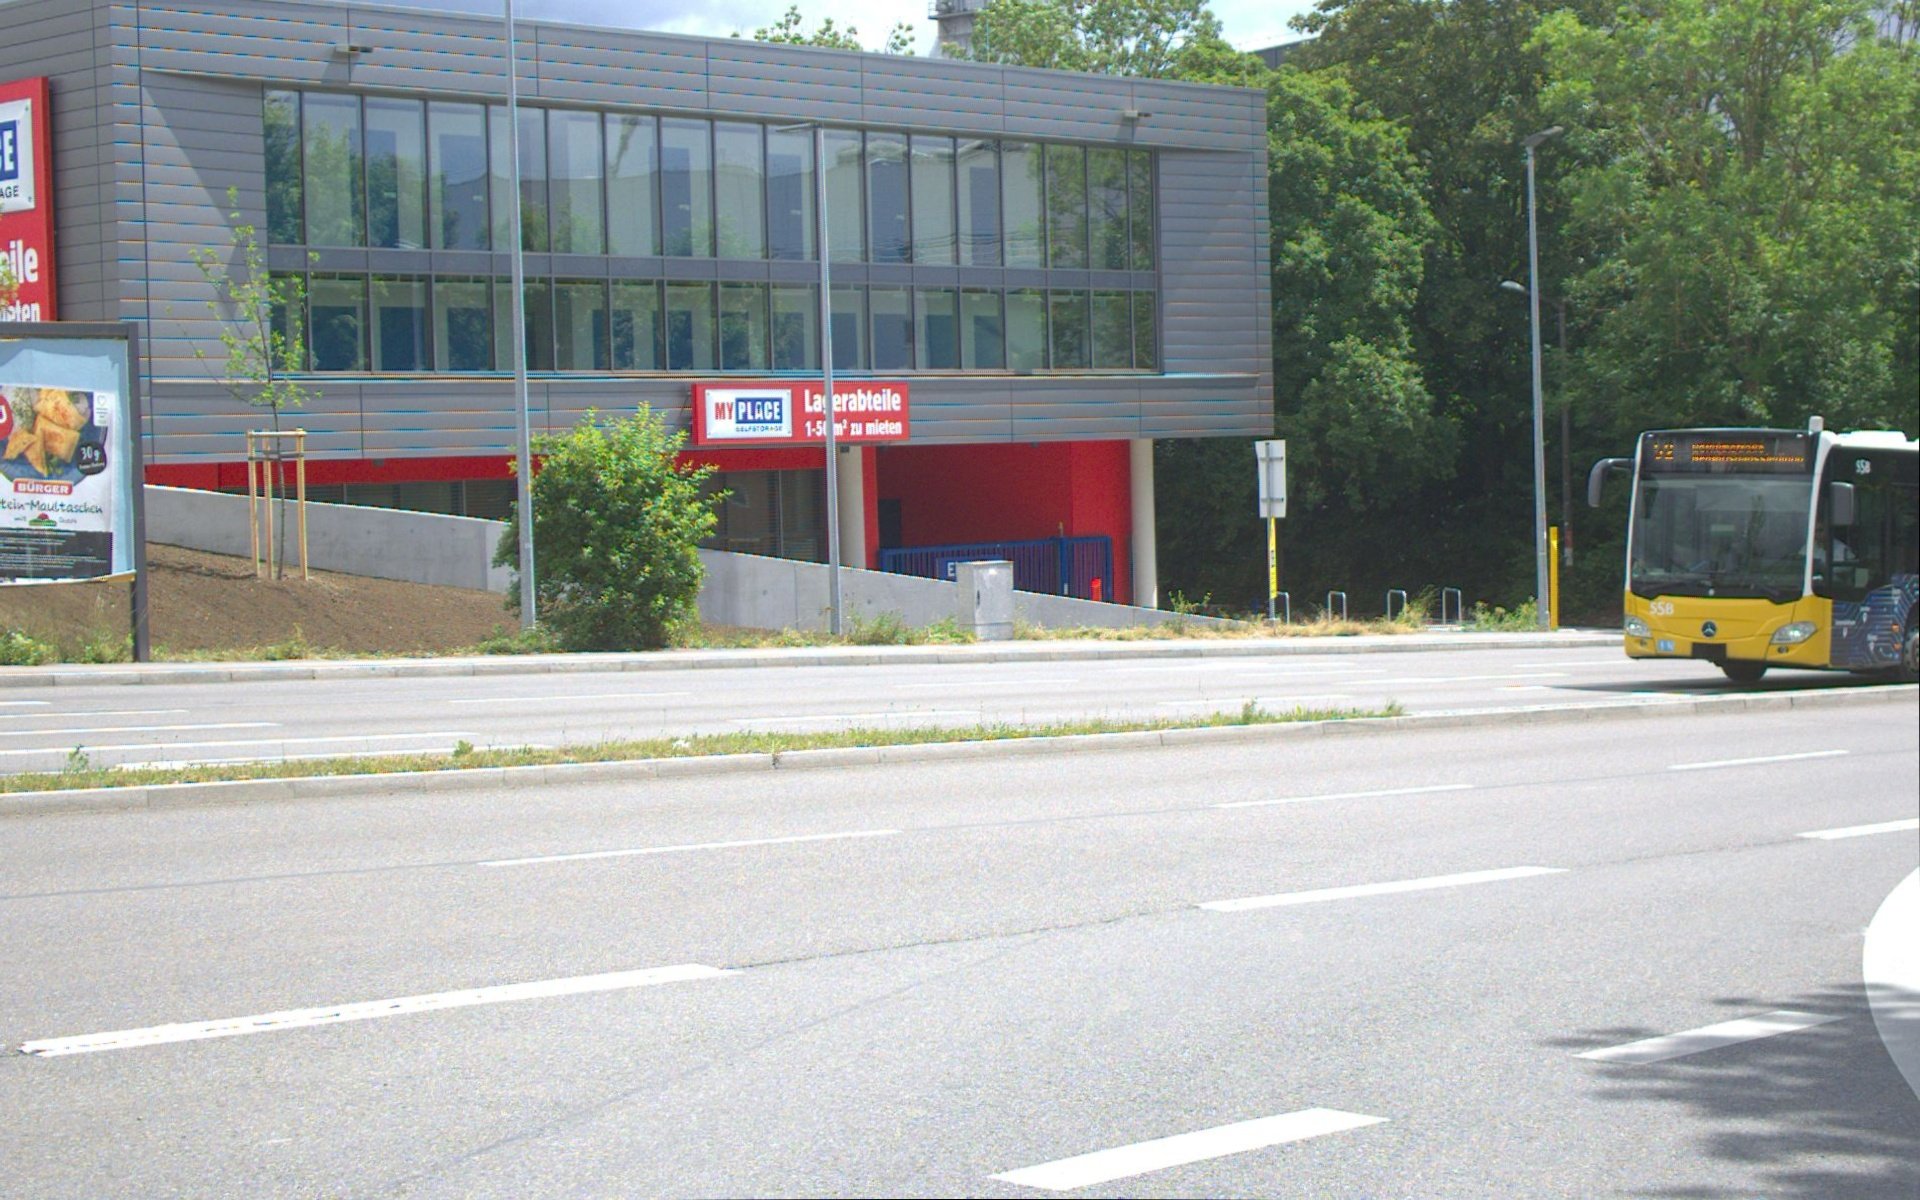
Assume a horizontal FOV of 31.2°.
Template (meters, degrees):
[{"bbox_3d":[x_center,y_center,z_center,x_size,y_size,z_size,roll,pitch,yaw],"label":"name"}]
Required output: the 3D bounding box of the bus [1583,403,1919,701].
[{"bbox_3d":[11.623,-0.561,42.352,2.822,3.274,10.095,2,1,42],"label":"bus"}]
